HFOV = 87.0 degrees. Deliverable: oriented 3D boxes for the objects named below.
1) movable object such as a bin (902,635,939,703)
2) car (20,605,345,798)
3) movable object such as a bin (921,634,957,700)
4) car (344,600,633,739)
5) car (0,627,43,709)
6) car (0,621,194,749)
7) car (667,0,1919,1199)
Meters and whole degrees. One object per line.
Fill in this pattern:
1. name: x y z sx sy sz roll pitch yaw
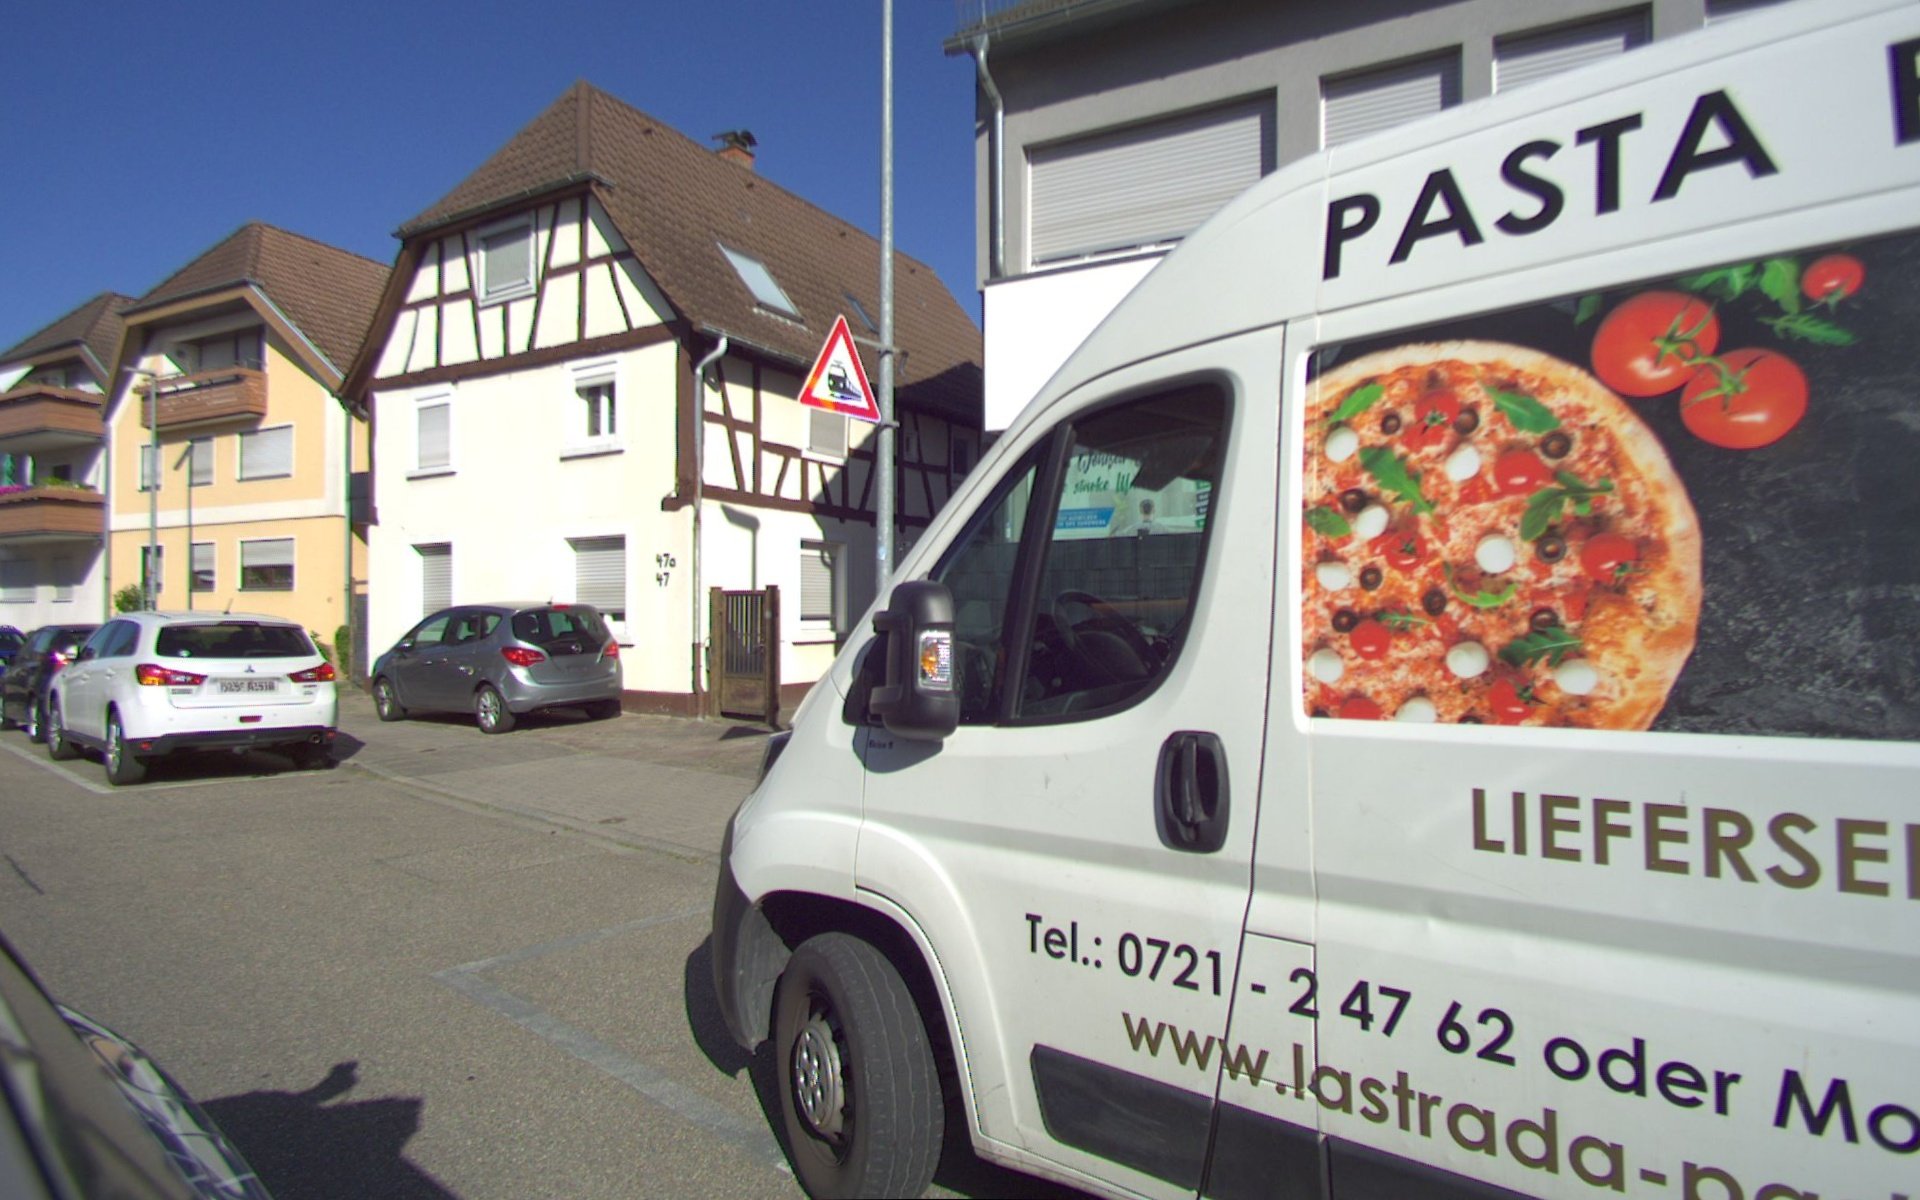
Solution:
1. movable object such as a bin: -0.689 1.208 17.818 0.457 1.169 0.488 -1 -2 30
2. car: -8.172 0.916 10.518 4.106 1.631 1.706 -1 -2 38
3. movable object such as a bin: -0.383 1.211 18.359 0.457 1.169 0.488 -1 -2 30
4. car: -6.368 0.843 13.525 4.101 1.599 1.628 -1 -1 34
5. car: -19.072 1.267 19.311 3.949 1.450 1.603 -1 -1 37
6. car: -12.039 1.057 13.812 3.679 1.519 1.639 -1 -2 38
7. car: 2.016 0.214 1.885 5.511 2.489 2.230 -1 -2 40
